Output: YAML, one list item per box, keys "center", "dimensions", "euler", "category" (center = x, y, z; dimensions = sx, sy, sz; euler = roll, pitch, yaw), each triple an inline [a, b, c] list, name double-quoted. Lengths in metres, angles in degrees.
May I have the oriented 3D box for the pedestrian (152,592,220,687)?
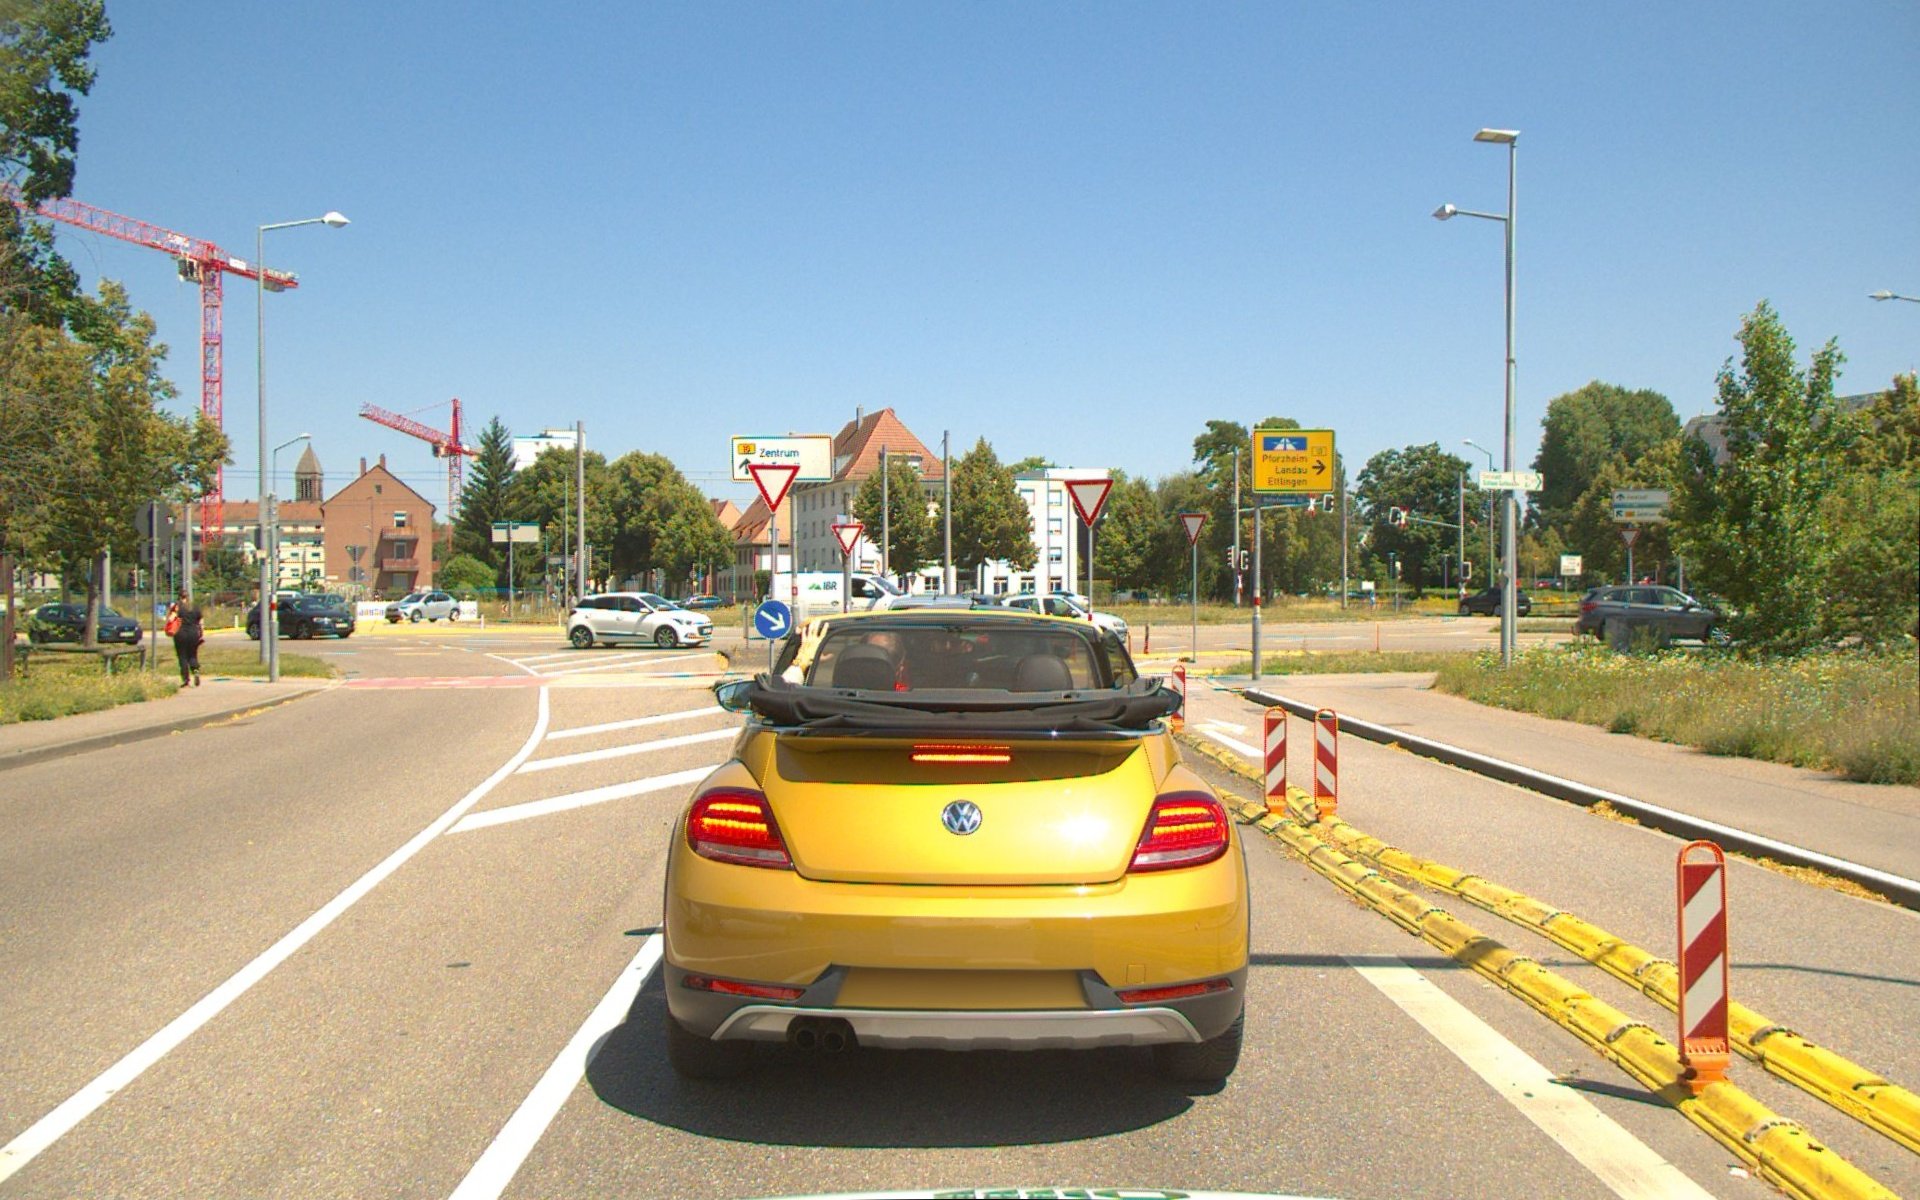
- center: [-13.263, 0.656, 28.352]
  dimensions: [0.862, 1.590, 0.805]
  euler: [0, 0, 44]
  category: "pedestrian"

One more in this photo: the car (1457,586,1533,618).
- center: [30.300, 0.112, 93.705]
  dimensions: [1.915, 1.701, 4.175]
  euler: [-1, 0, -21]
  category: "car"

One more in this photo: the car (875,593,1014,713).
- center: [-0.219, 0.648, 22.274]
  dimensions: [1.701, 1.467, 3.999]
  euler: [0, 0, -1]
  category: "car"

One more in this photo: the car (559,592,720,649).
- center: [-8.602, 0.542, 44.521]
  dimensions: [3.922, 1.470, 1.634]
  euler: [0, 0, 12]
  category: "car"

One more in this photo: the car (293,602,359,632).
- center: [-27.956, 0.718, 72.993]
  dimensions: [1.673, 1.258, 3.783]
  euler: [0, 0, -4]
  category: "car"

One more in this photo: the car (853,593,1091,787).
- center: [0.064, 0.688, 14.626]
  dimensions: [1.810, 1.467, 3.999]
  euler: [0, 0, -1]
  category: "car"

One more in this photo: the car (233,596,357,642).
- center: [-22.580, 0.620, 56.140]
  dimensions: [4.115, 1.467, 1.993]
  euler: [0, 0, 35]
  category: "car"

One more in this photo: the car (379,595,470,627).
- center: [-26.448, 0.552, 81.847]
  dimensions: [1.676, 1.526, 4.210]
  euler: [0, 0, 31]
  category: "car"

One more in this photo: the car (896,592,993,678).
- center: [-0.295, 0.624, 31.231]
  dimensions: [1.701, 1.503, 3.999]
  euler: [0, 0, -1]
  category: "car"

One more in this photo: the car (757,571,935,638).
- center: [-3.341, 0.115, 48.786]
  dimensions: [4.864, 1.882, 2.002]
  euler: [0, 0, 12]
  category: "car"

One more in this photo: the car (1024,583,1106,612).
- center: [6.888, -0.169, 108.473]
  dimensions: [5.053, 1.817, 2.028]
  euler: [-1, 0, 12]
  category: "car"

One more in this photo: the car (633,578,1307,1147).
- center: [-0.006, 0.674, 6.124]
  dimensions: [1.717, 1.447, 3.776]
  euler: [0, 0, -1]
  category: "car"

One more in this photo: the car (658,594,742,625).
- center: [-16.385, 0.614, 104.312]
  dimensions: [4.855, 1.817, 2.010]
  euler: [-1, 0, -26]
  category: "car"

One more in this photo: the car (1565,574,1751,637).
- center: [18.625, 0.130, 44.359]
  dimensions: [4.338, 1.624, 2.001]
  euler: [0, 0, 14]
  category: "car"

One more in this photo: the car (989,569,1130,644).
- center: [2.611, 0.167, 42.964]
  dimensions: [3.588, 1.882, 1.634]
  euler: [0, 0, 6]
  category: "car"

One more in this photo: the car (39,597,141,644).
- center: [-29.103, 0.660, 55.275]
  dimensions: [1.984, 1.467, 4.151]
  euler: [1, 0, -43]
  category: "car"
